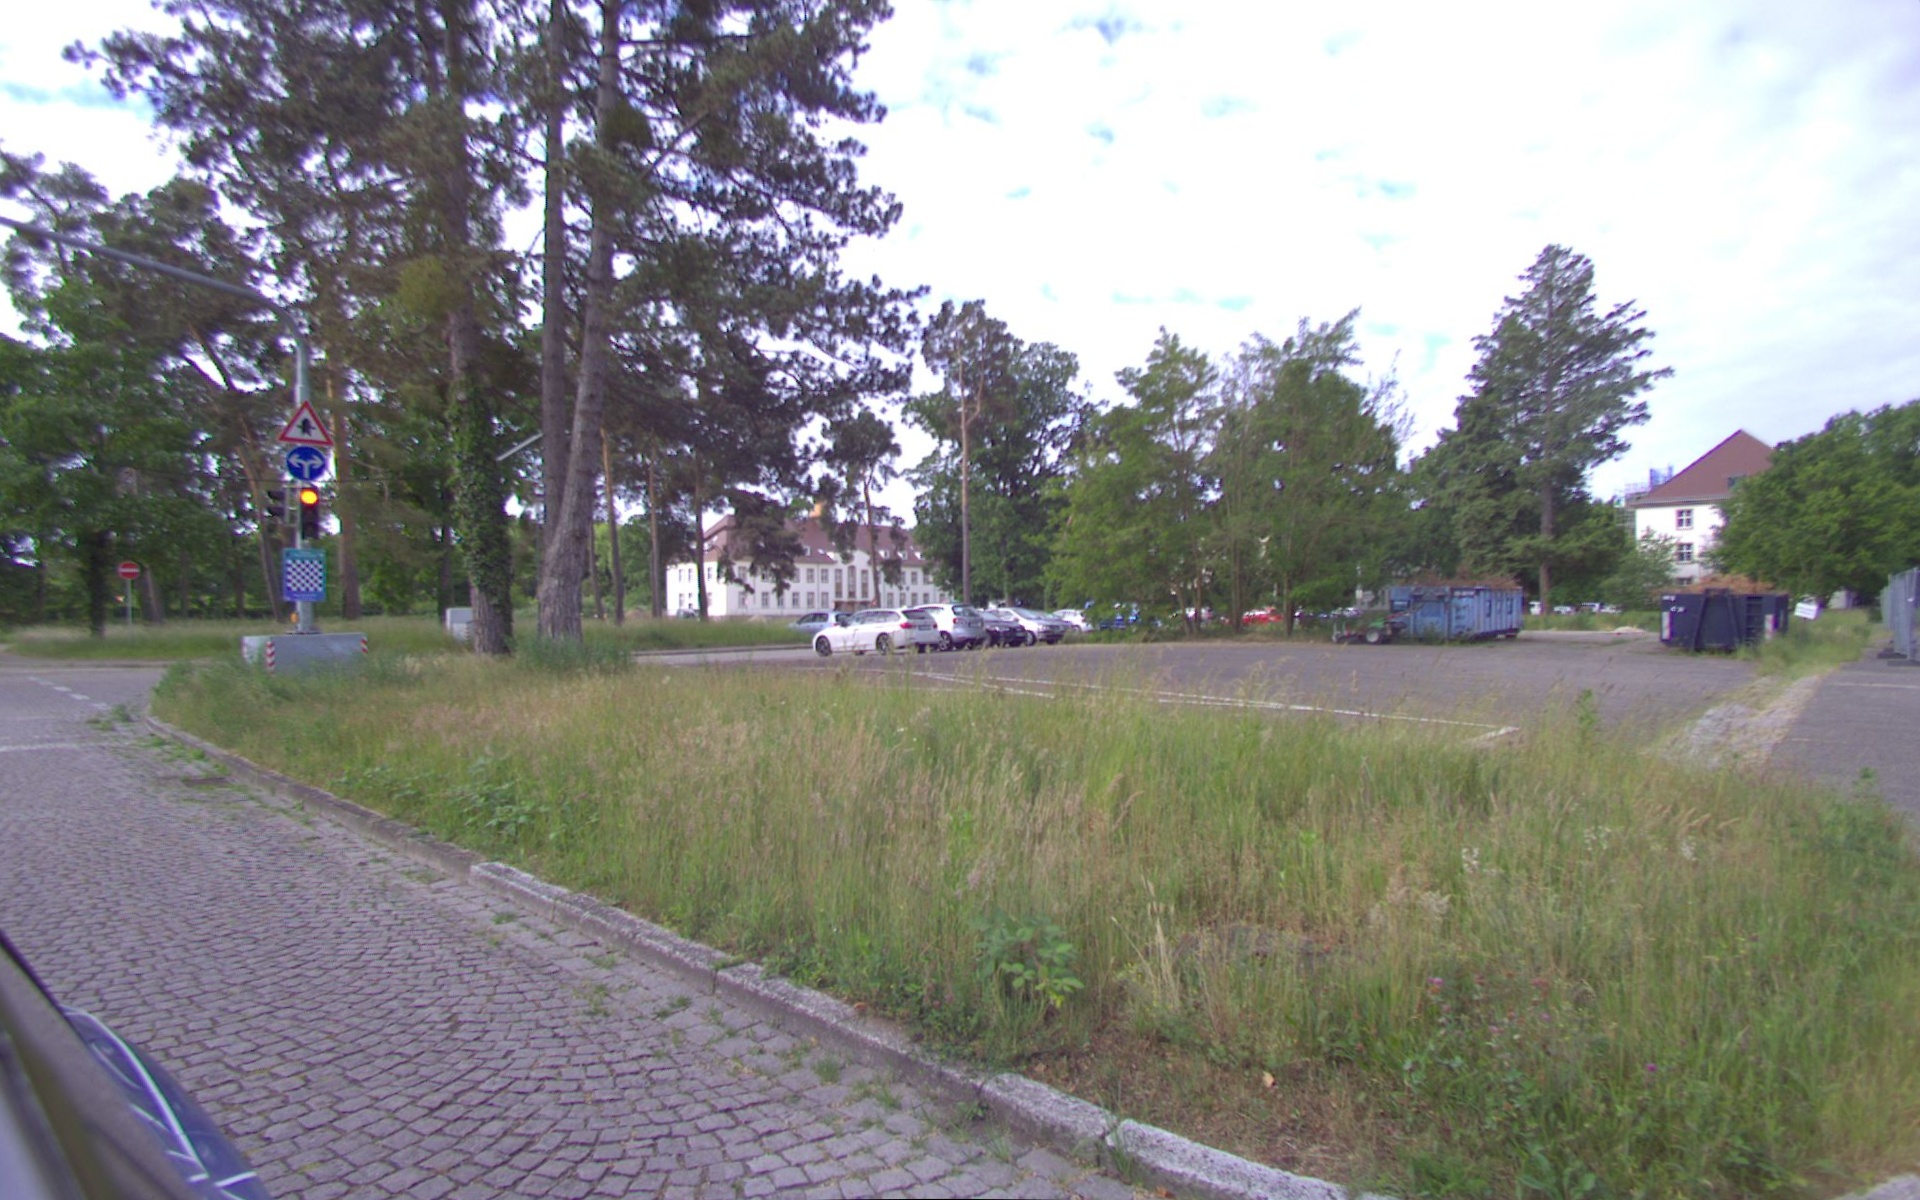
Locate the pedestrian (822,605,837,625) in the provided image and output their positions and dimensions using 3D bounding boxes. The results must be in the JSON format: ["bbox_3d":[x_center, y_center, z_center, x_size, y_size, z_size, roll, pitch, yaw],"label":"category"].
[{"bbox_3d":[-14.200,1.637,110.183,1.185,2.194,1.041,-1,-1,43],"label":"pedestrian"}]

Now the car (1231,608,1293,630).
[{"bbox_3d":[22.584,1.444,75.840,3.997,1.581,1.973,-1,-1,41],"label":"car"}]

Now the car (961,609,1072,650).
[{"bbox_3d":[2.095,1.086,38.204,3.983,1.467,1.659,-1,-1,39],"label":"car"}]

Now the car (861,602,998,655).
[{"bbox_3d":[-1.088,0.985,33.930,4.483,1.602,1.823,-3,-2,40],"label":"car"}]

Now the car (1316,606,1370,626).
[{"bbox_3d":[32.664,1.365,86.375,1.971,1.637,3.796,0,-1,-45],"label":"car"}]

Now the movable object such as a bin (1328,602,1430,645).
[{"bbox_3d":[12.369,0.692,29.909,2.539,1.221,1.154,-2,-1,43],"label":"movable object such as a bin"}]

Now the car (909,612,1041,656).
[{"bbox_3d":[0.472,1.185,36.112,4.632,1.433,1.859,-1,-1,41],"label":"car"}]

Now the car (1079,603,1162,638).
[{"bbox_3d":[9.770,1.247,61.870,1.969,2.029,4.850,0,-1,-42],"label":"car"}]

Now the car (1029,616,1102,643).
[{"bbox_3d":[6.038,1.690,58.146,3.937,1.460,1.771,-1,-1,44],"label":"car"}]

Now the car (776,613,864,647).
[{"bbox_3d":[-6.237,1.326,44.848,4.002,1.429,1.770,-1,-1,45],"label":"car"}]

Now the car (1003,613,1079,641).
[{"bbox_3d":[4.434,1.477,55.670,3.937,1.446,1.771,-1,-1,44],"label":"car"}]

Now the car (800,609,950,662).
[{"bbox_3d":[-2.741,1.136,31.956,4.819,1.450,1.887,-5,-3,41],"label":"car"}]
